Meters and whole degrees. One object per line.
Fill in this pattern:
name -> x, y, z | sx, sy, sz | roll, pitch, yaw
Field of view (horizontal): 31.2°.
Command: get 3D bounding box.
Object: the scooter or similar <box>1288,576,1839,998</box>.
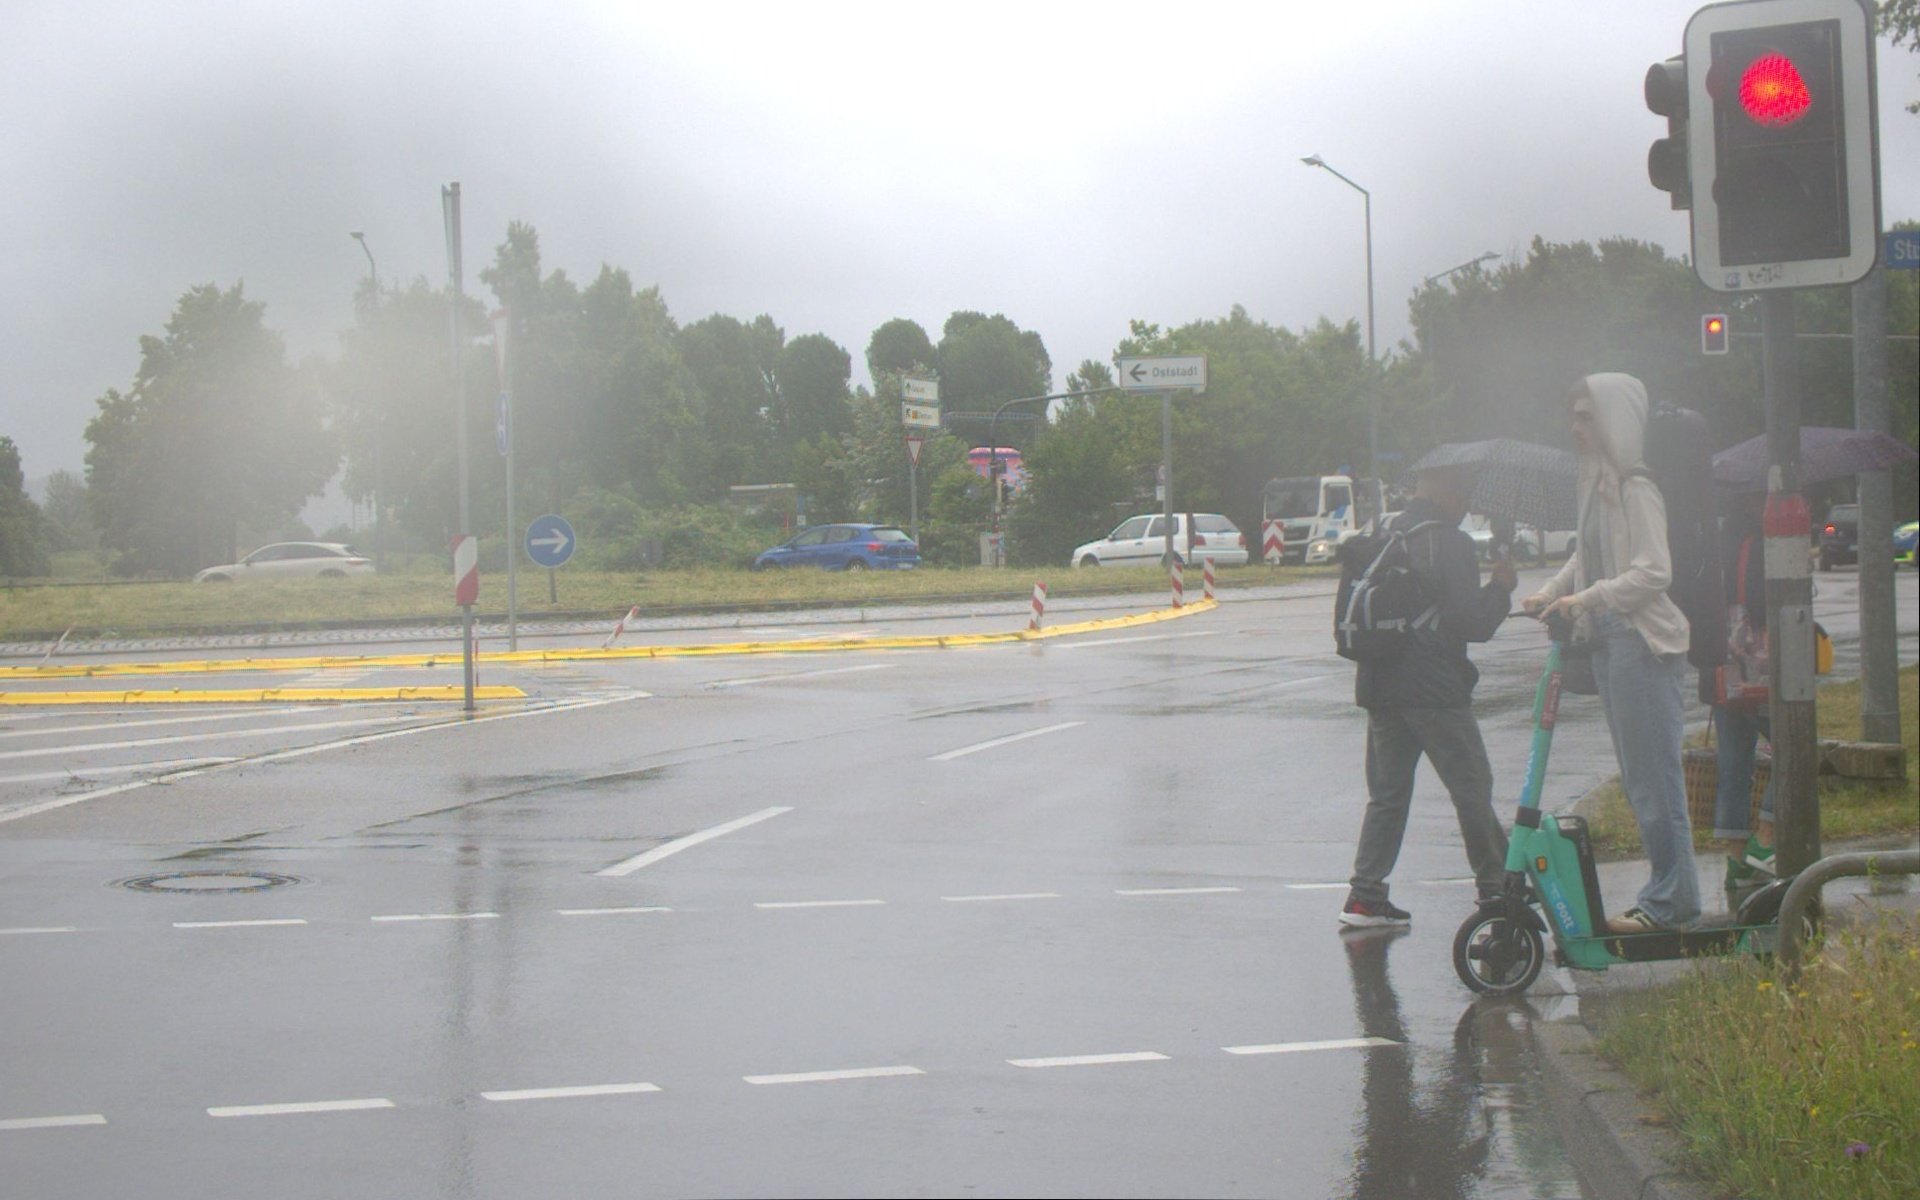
scooter or similar -> 1.843, 0.566, 10.561 | 1.585, 1.255, 0.447 | 1, 0, -6

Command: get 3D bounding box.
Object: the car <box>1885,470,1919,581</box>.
car -> 18.063, -1.289, 57.650 | 4.764, 1.845, 1.998 | -1, 1, 19

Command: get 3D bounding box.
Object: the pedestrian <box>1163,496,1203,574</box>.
pedestrian -> 3.749, -1.087, 57.862 | 0.453, 1.300, 0.485 | 0, 2, 39

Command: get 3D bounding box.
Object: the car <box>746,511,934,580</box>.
car -> -2.659, -1.189, 75.872 | 3.983, 1.449, 1.620 | 0, 2, 37

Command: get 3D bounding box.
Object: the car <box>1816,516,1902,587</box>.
car -> 19.433, -1.062, 74.413 | 1.619, 1.449, 3.986 | -1, 1, 12

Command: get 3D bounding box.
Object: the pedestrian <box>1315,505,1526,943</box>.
pedestrian -> 1.638, 0.424, 12.318 | 0.621, 1.517, 0.741 | 1, 1, -1

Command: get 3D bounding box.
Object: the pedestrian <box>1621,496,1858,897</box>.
pedestrian -> 2.939, 0.354, 12.999 | 0.680, 1.456, 0.573 | -2, 0, -4

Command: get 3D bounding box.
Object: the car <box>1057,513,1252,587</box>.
car -> 3.986, -1.022, 70.865 | 1.619, 1.449, 3.985 | -2, 2, -43

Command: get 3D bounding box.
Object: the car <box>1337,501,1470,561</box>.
car -> 12.891, -1.983, 99.766 | 1.800, 1.656, 4.124 | 1, 1, 41

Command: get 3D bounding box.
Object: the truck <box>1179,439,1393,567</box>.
truck -> 7.449, -2.126, 77.427 | 2.464, 2.677, 8.049 | 1, 0, 23

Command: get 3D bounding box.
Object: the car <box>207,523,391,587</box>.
car -> -15.969, -1.088, 83.191 | 4.099, 1.449, 1.623 | -1, 1, 1

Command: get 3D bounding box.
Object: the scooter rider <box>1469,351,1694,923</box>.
scooter rider -> 1.905, 0.107, 10.567 | 0.531, 1.703, 0.434 | -2, 1, -6
